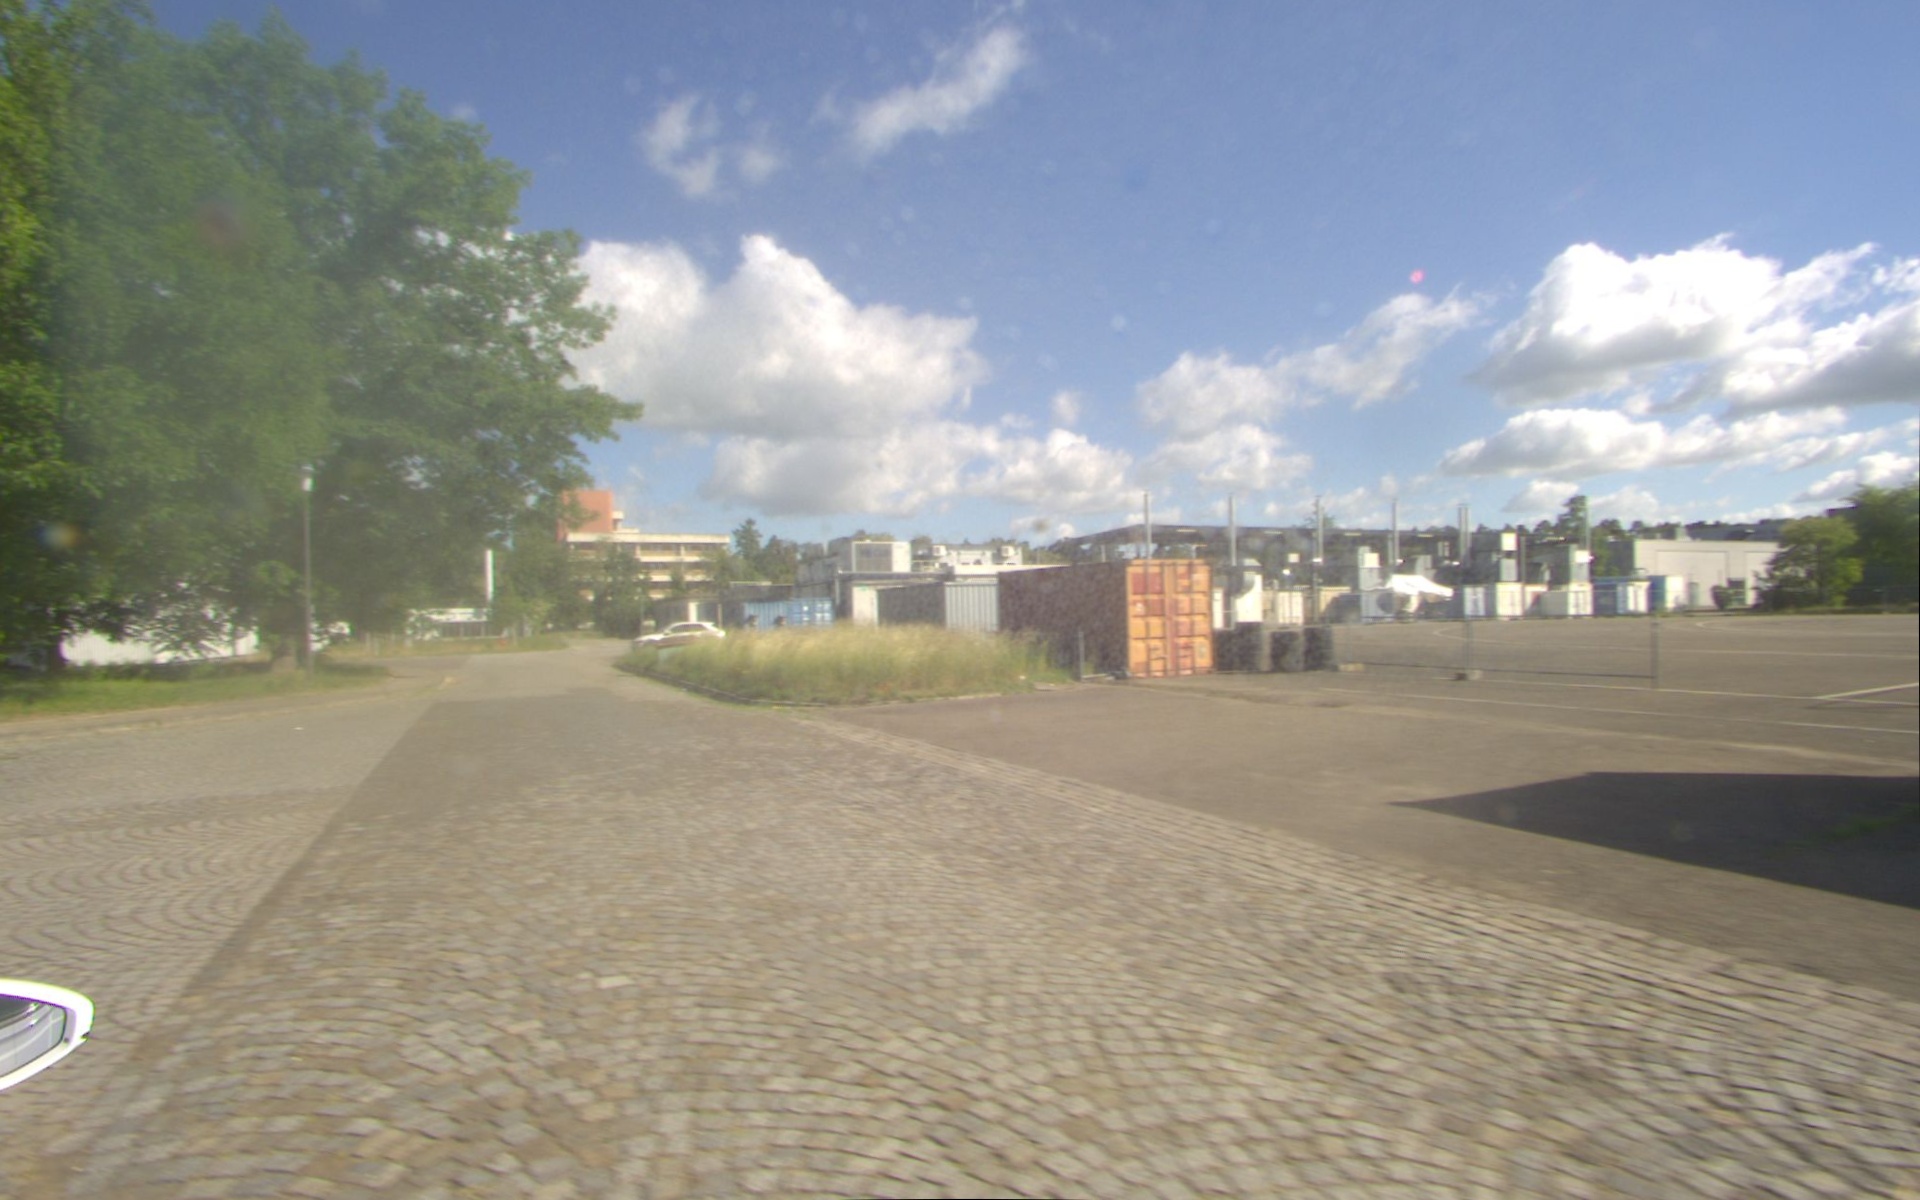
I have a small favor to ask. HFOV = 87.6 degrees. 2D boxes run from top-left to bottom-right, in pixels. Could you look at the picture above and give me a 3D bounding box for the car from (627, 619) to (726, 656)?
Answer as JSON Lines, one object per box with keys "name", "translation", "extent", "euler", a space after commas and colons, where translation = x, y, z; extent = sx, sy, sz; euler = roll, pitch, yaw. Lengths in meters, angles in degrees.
{"name": "car", "translation": [-14.164, 1.838, 50.076], "extent": [4.450, 1.669, 1.992], "euler": [-1, -1, -27]}
